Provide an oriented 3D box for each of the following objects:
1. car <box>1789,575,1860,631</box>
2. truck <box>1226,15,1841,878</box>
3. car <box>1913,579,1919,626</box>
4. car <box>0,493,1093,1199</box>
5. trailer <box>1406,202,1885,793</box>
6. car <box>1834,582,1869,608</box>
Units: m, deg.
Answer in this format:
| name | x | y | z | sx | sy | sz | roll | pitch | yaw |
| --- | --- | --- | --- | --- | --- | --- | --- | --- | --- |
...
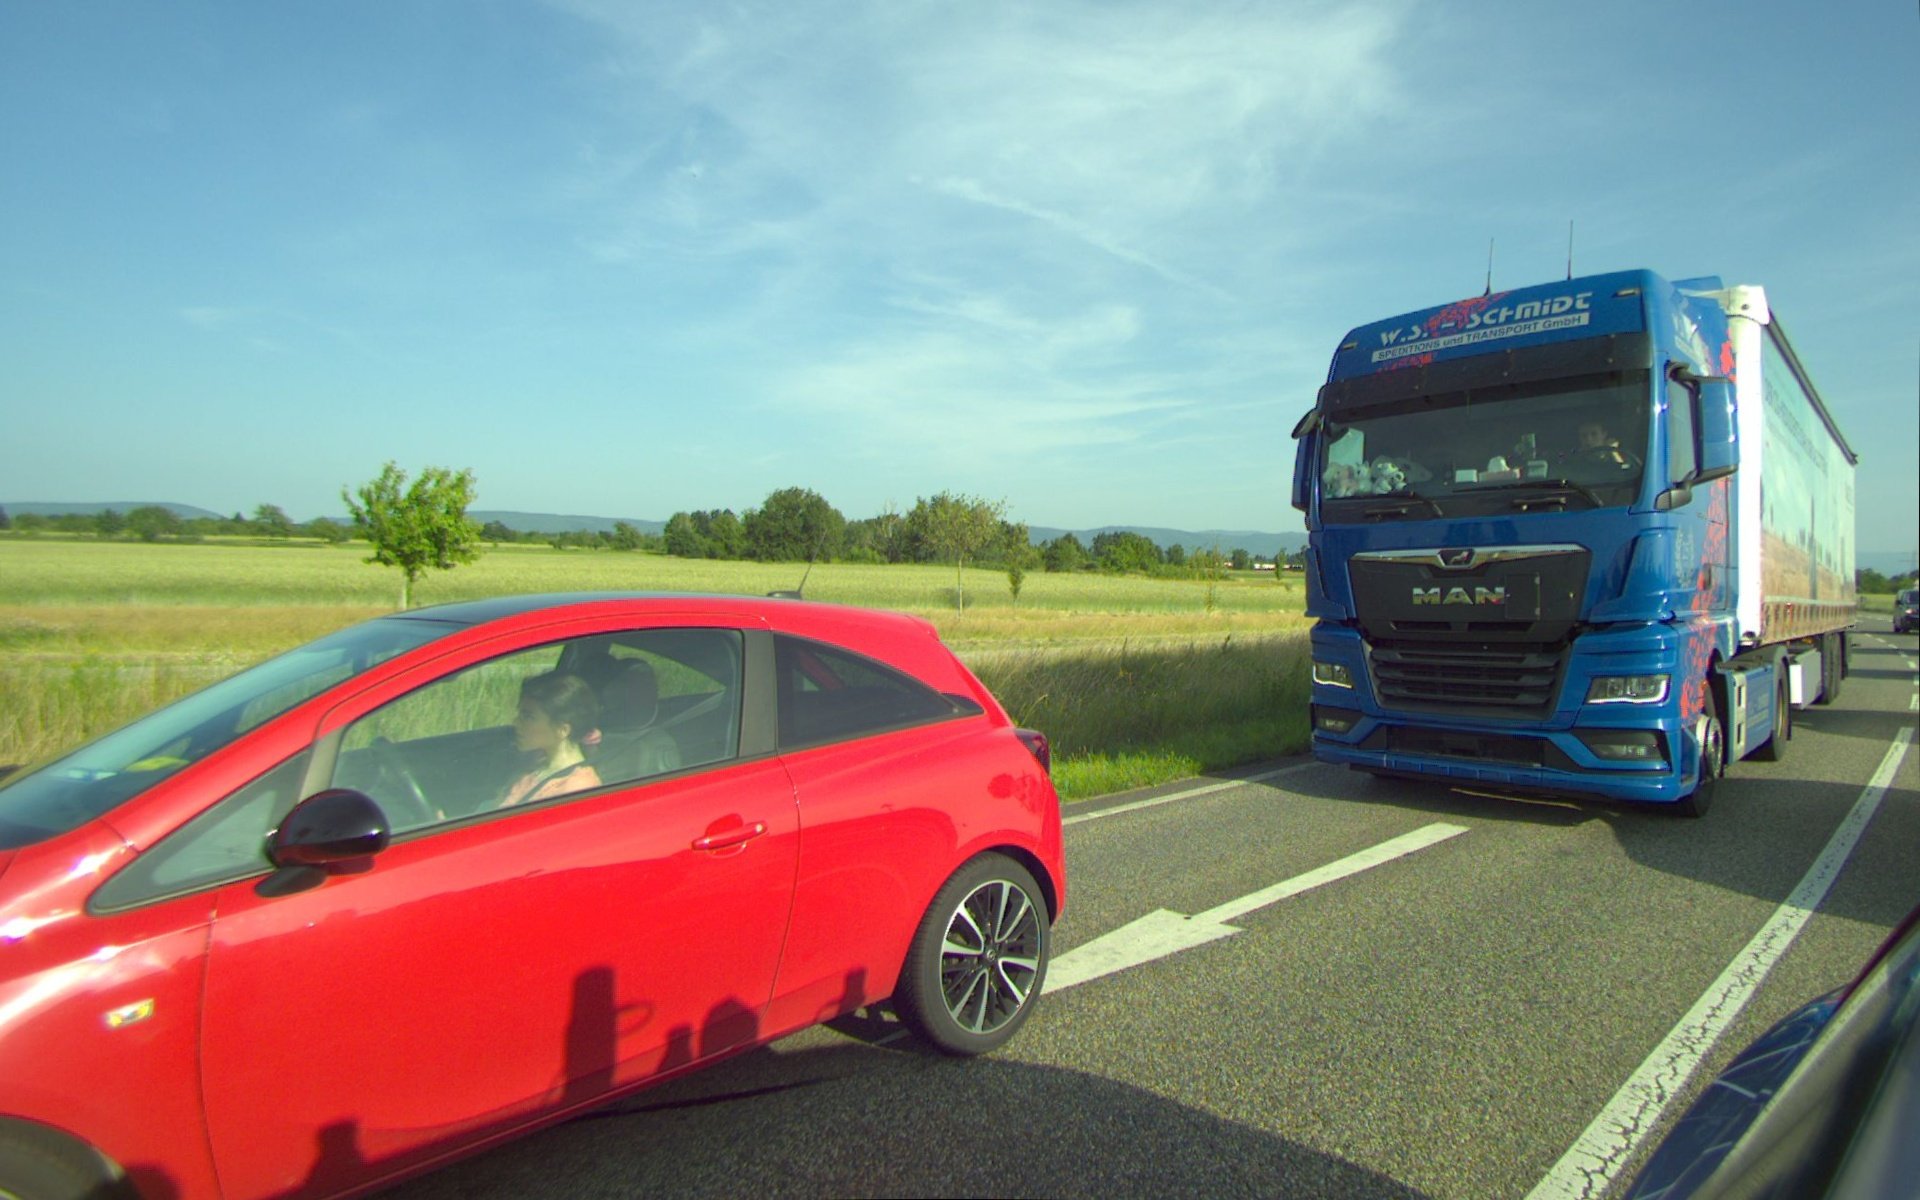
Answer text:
| name | x | y | z | sx | sy | sz | roll | pitch | yaw |
| --- | --- | --- | --- | --- | --- | --- | --- | --- | --- |
| car | 33.645 | 0.080 | 39.437 | 1.991 | 2.039 | 3.942 | 1 | 1 | 40 |
| truck | 5.200 | -0.885 | 8.728 | 3.301 | 4.716 | 5.640 | 0 | 1 | 44 |
| car | 40.774 | 0.109 | 41.974 | 1.551 | 1.944 | 3.977 | 2 | 1 | 40 |
| car | -1.443 | 0.587 | 2.875 | 3.689 | 1.568 | 1.698 | 0 | 2 | -44 |
| trailer | 10.265 | -0.943 | 13.934 | 3.282 | 4.739 | 12.939 | 0 | 1 | 44 |
| car | 70.953 | -0.400 | 80.591 | 1.991 | 2.039 | 3.942 | 1 | 1 | 40 |
